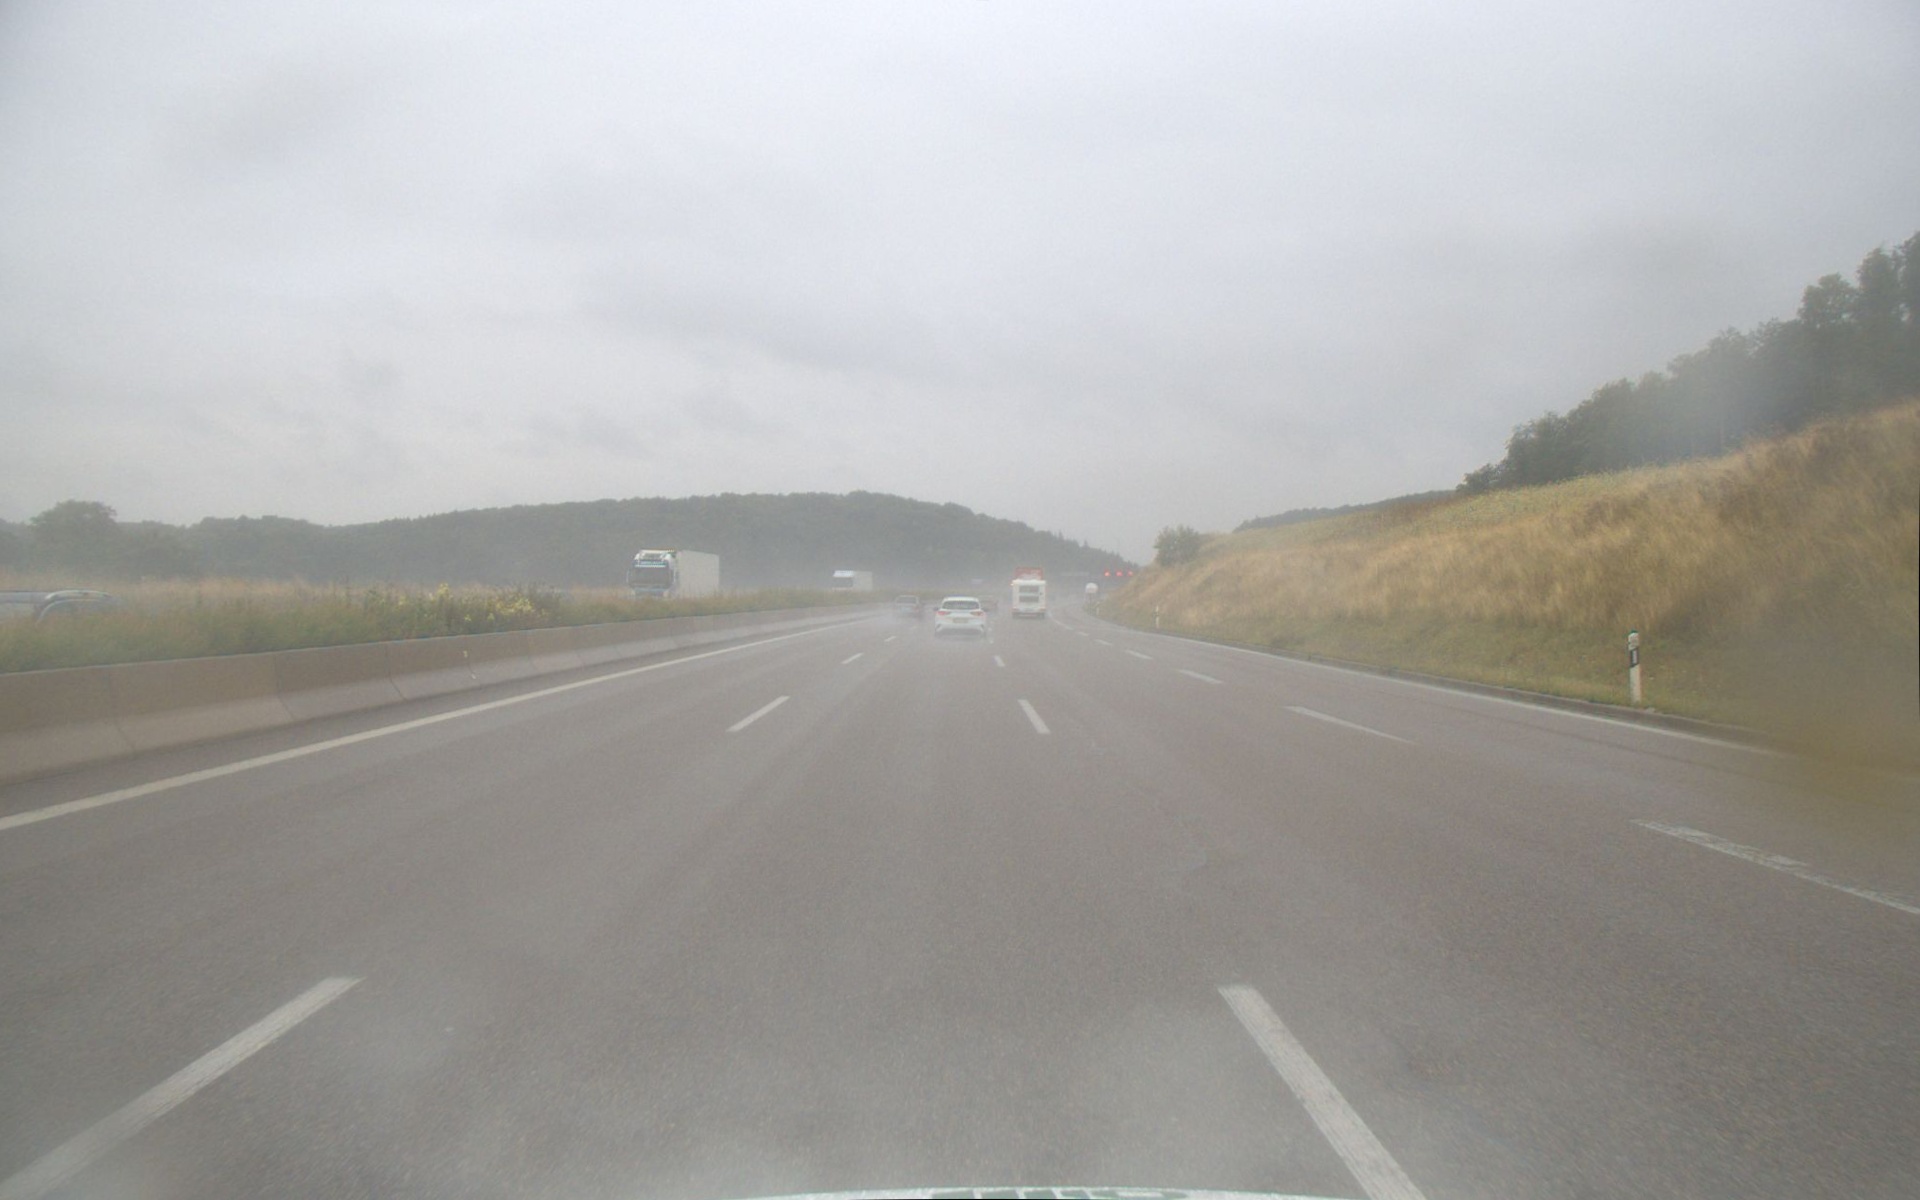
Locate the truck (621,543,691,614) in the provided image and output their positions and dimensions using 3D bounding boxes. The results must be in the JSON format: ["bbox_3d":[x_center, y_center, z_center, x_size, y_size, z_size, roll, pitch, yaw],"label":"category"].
[{"bbox_3d":[-17.905,-1.264,97.710,2.892,4.063,6.218,0,0,1],"label":"truck"}]

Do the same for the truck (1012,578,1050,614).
[{"bbox_3d":[4.681,-0.273,110.312,2.358,2.292,4.693,0,0,0],"label":"truck"}]

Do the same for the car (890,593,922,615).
[{"bbox_3d":[-3.073,0.229,93.930,1.787,1.177,4.211,1,-1,-2],"label":"car"}]

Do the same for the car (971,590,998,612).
[{"bbox_3d":[1.857,0.034,126.836,1.953,1.646,3.999,0,0,-2],"label":"car"}]

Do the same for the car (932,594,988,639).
[{"bbox_3d":[-0.026,0.560,57.490,1.830,1.488,3.999,0,0,-2],"label":"car"}]

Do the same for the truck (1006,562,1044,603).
[{"bbox_3d":[6.199,-1.736,158.610,3.454,3.808,11.429,1,1,1],"label":"truck"}]
